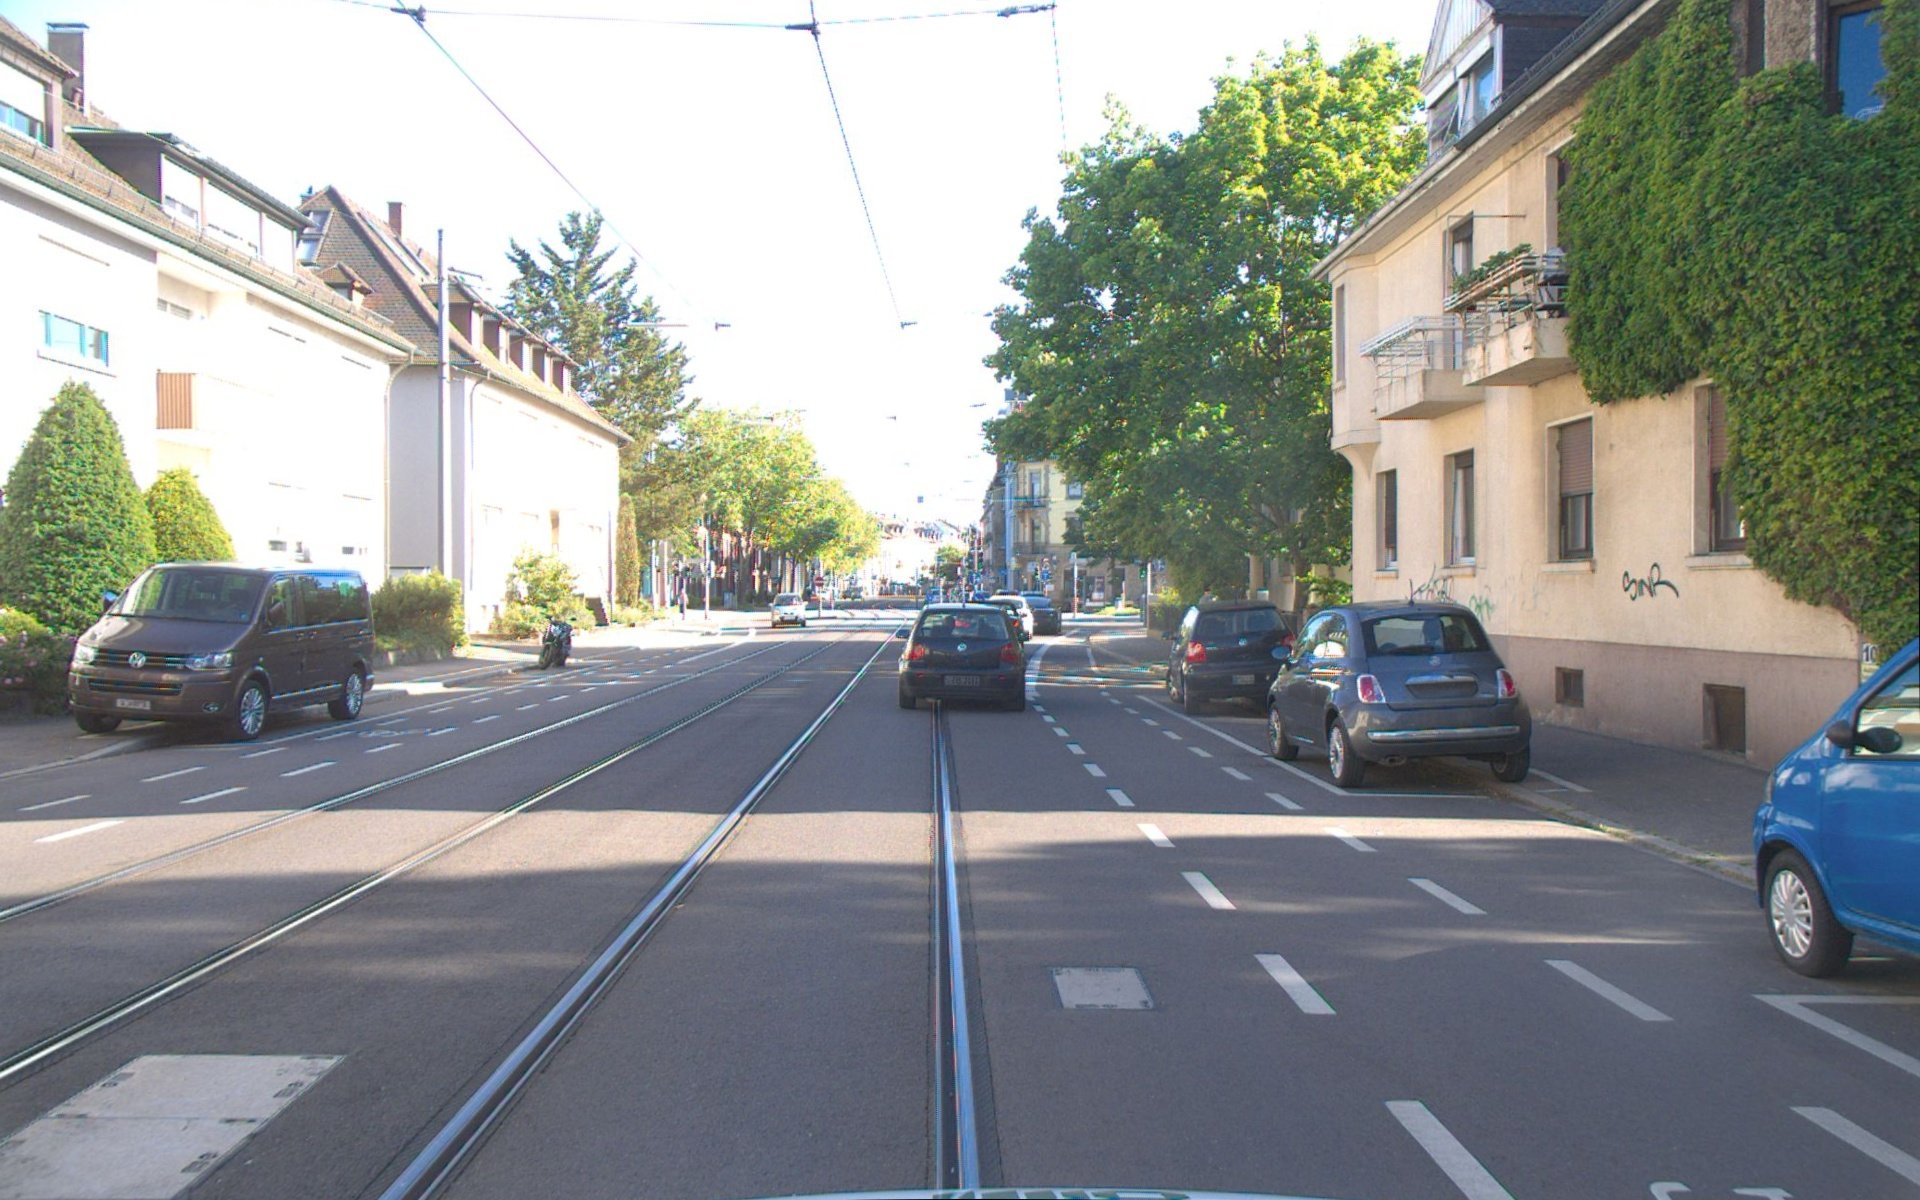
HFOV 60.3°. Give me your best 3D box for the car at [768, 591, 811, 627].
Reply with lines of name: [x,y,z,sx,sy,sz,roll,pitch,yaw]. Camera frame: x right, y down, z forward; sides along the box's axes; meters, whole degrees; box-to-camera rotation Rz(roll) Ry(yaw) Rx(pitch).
car: [-7.406,0.360,72.076,1.543,1.503,3.440,-1,0,-1]

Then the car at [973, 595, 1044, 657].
car: [1.147,0.599,40.495,1.601,1.396,3.757,-1,0,0]

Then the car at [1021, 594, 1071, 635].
car: [3.277,0.521,63.376,1.538,1.334,3.646,-1,3,-3]

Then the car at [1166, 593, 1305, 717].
car: [3.821,0.714,23.432,1.630,1.591,3.773,1,0,5]

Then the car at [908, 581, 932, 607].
car: [-3.112,-0.460,128.914,1.751,1.892,3.998,2,0,-3]

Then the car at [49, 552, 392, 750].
car: [-8.673,0.518,19.969,1.867,2.049,4.949,1,0,0]

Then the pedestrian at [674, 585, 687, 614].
pedestrian: [-17.244,-0.047,102.156,0.600,1.719,0.729,2,0,-19]

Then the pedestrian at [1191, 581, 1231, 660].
pedestrian: [5.609,0.445,36.985,0.703,1.717,0.870,-1,0,-2]

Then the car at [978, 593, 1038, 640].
car: [1.635,0.523,54.924,1.703,1.466,3.812,0,1,6]

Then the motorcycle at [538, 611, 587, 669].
motorcycle: [-8.560,0.845,35.667,0.525,1.183,2.171,-2,0,-1]

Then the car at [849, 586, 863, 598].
car: [-15.195,-1.170,241.884,1.933,1.847,4.292,0,0,-5]

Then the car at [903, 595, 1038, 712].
car: [0.112,0.674,23.004,1.681,1.427,4.005,1,0,-1]

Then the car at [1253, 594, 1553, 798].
car: [3.815,0.755,14.833,1.569,1.552,3.547,1,0,-3]

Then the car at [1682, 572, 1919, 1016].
car: [4.233,0.724,6.244,1.428,1.627,3.292,1,0,-3]

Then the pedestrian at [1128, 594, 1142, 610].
pedestrian: [13.410,0.171,126.942,0.960,1.208,0.743,0,0,-2]
